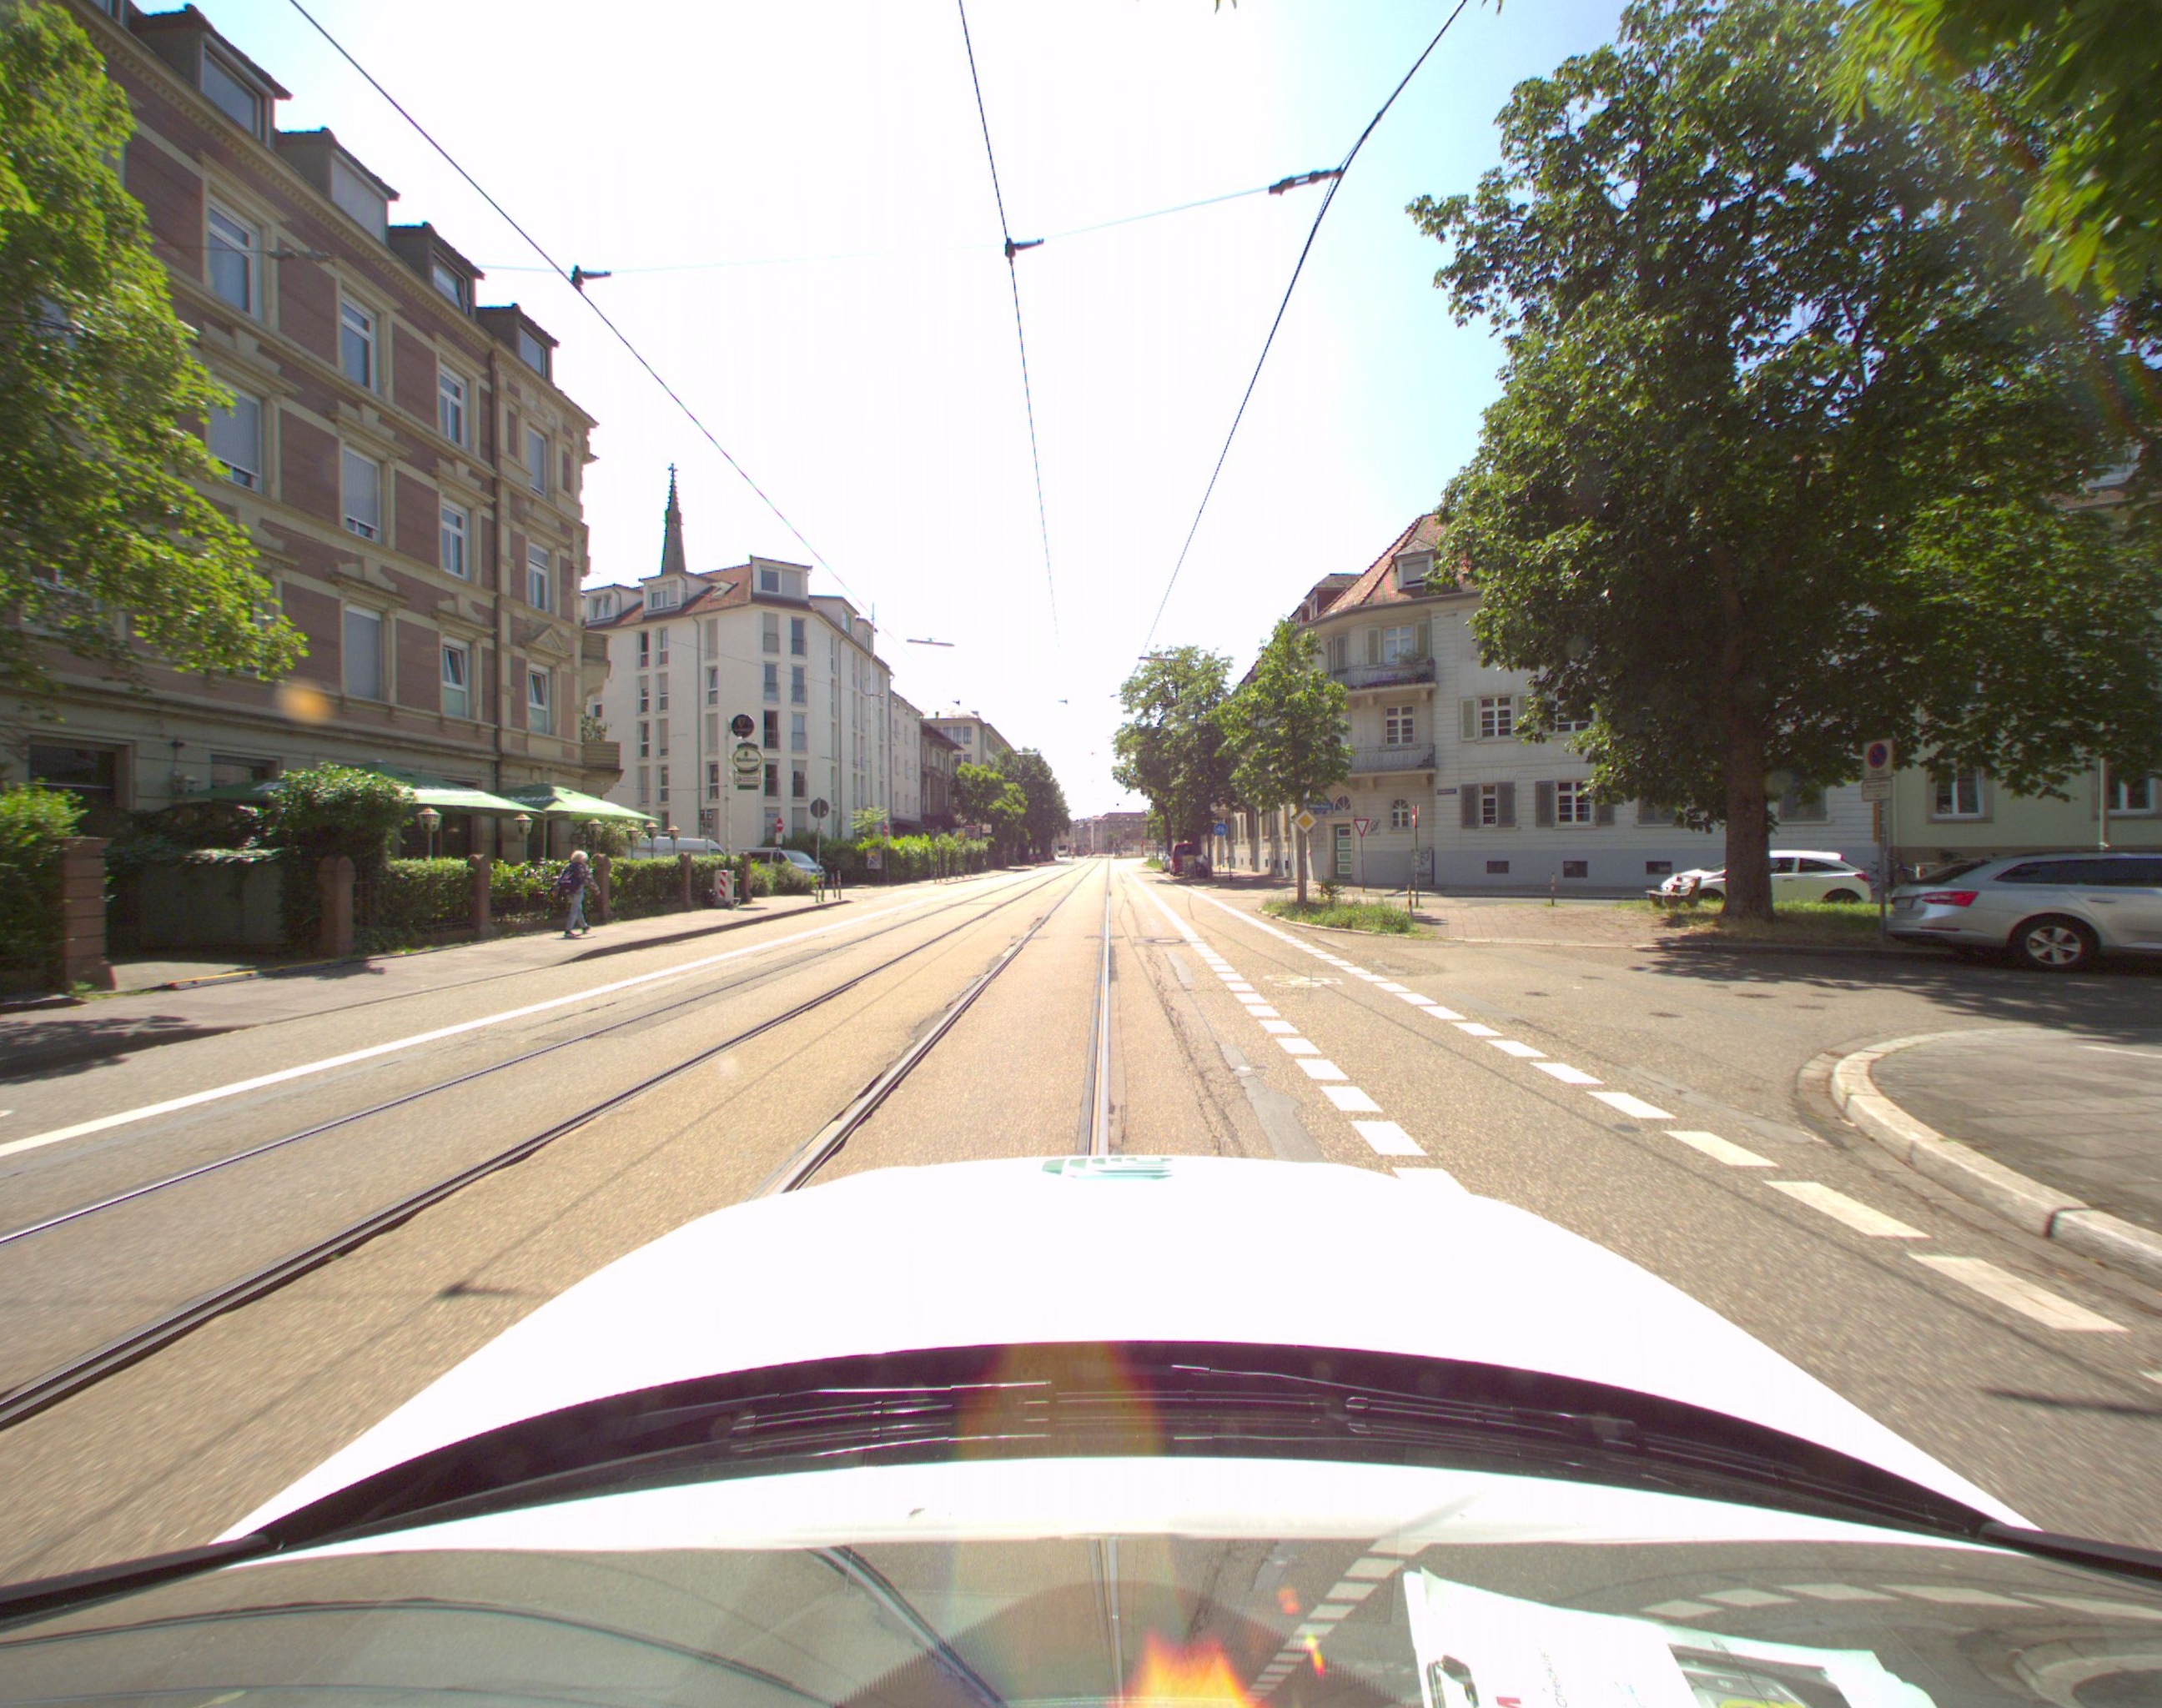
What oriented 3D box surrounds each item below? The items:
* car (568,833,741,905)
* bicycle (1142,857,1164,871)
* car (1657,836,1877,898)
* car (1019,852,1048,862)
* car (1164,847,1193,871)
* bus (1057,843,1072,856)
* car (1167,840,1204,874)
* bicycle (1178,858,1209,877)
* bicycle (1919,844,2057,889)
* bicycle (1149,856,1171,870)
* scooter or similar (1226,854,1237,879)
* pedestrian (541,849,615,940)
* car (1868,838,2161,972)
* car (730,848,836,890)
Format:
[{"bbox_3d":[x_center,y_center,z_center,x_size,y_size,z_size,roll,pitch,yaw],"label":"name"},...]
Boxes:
[{"bbox_3d":[-16.790,0.508,32.584,2.101,2.590,6.222,-1,0,21],"label":"car"},{"bbox_3d":[5.369,0.742,60.979,1.651,1.015,0.372,-1,0,2],"label":"bicycle"},{"bbox_3d":[16.825,0.308,20.273,3.948,1.420,1.865,-1,0,32],"label":"car"},{"bbox_3d":[-7.023,0.431,121.100,3.939,1.374,1.656,-2,1,-24],"label":"car"},{"bbox_3d":[6.940,0.347,58.311,1.851,1.577,4.884,-1,1,5],"label":"car"},{"bbox_3d":[-4.205,-0.995,211.961,2.999,3.158,17.504,0,0,2],"label":"bus"},{"bbox_3d":[6.407,0.206,50.426,1.852,2.014,4.978,-1,-1,2],"label":"car"},{"bbox_3d":[6.392,0.761,46.385,1.693,1.021,0.364,-2,0,-5],"label":"bicycle"},{"bbox_3d":[26.918,0.365,24.230,2.693,1.262,0.675,-1,3,23],"label":"bicycle"},{"bbox_3d":[6.031,0.675,62.454,1.651,1.015,0.372,-1,0,2],"label":"bicycle"},{"bbox_3d":[7.071,0.583,38.311,0.294,1.161,1.252,-1,0,1],"label":"scooter or similar"},{"bbox_3d":[-9.415,0.734,15.280,0.737,1.642,0.941,-1,0,4],"label":"pedestrian"},{"bbox_3d":[13.088,0.578,9.968,4.617,1.515,1.888,1,1,29],"label":"car"},{"bbox_3d":[-14.686,0.719,40.165,4.649,1.984,2.168,-1,0,23],"label":"car"}]
